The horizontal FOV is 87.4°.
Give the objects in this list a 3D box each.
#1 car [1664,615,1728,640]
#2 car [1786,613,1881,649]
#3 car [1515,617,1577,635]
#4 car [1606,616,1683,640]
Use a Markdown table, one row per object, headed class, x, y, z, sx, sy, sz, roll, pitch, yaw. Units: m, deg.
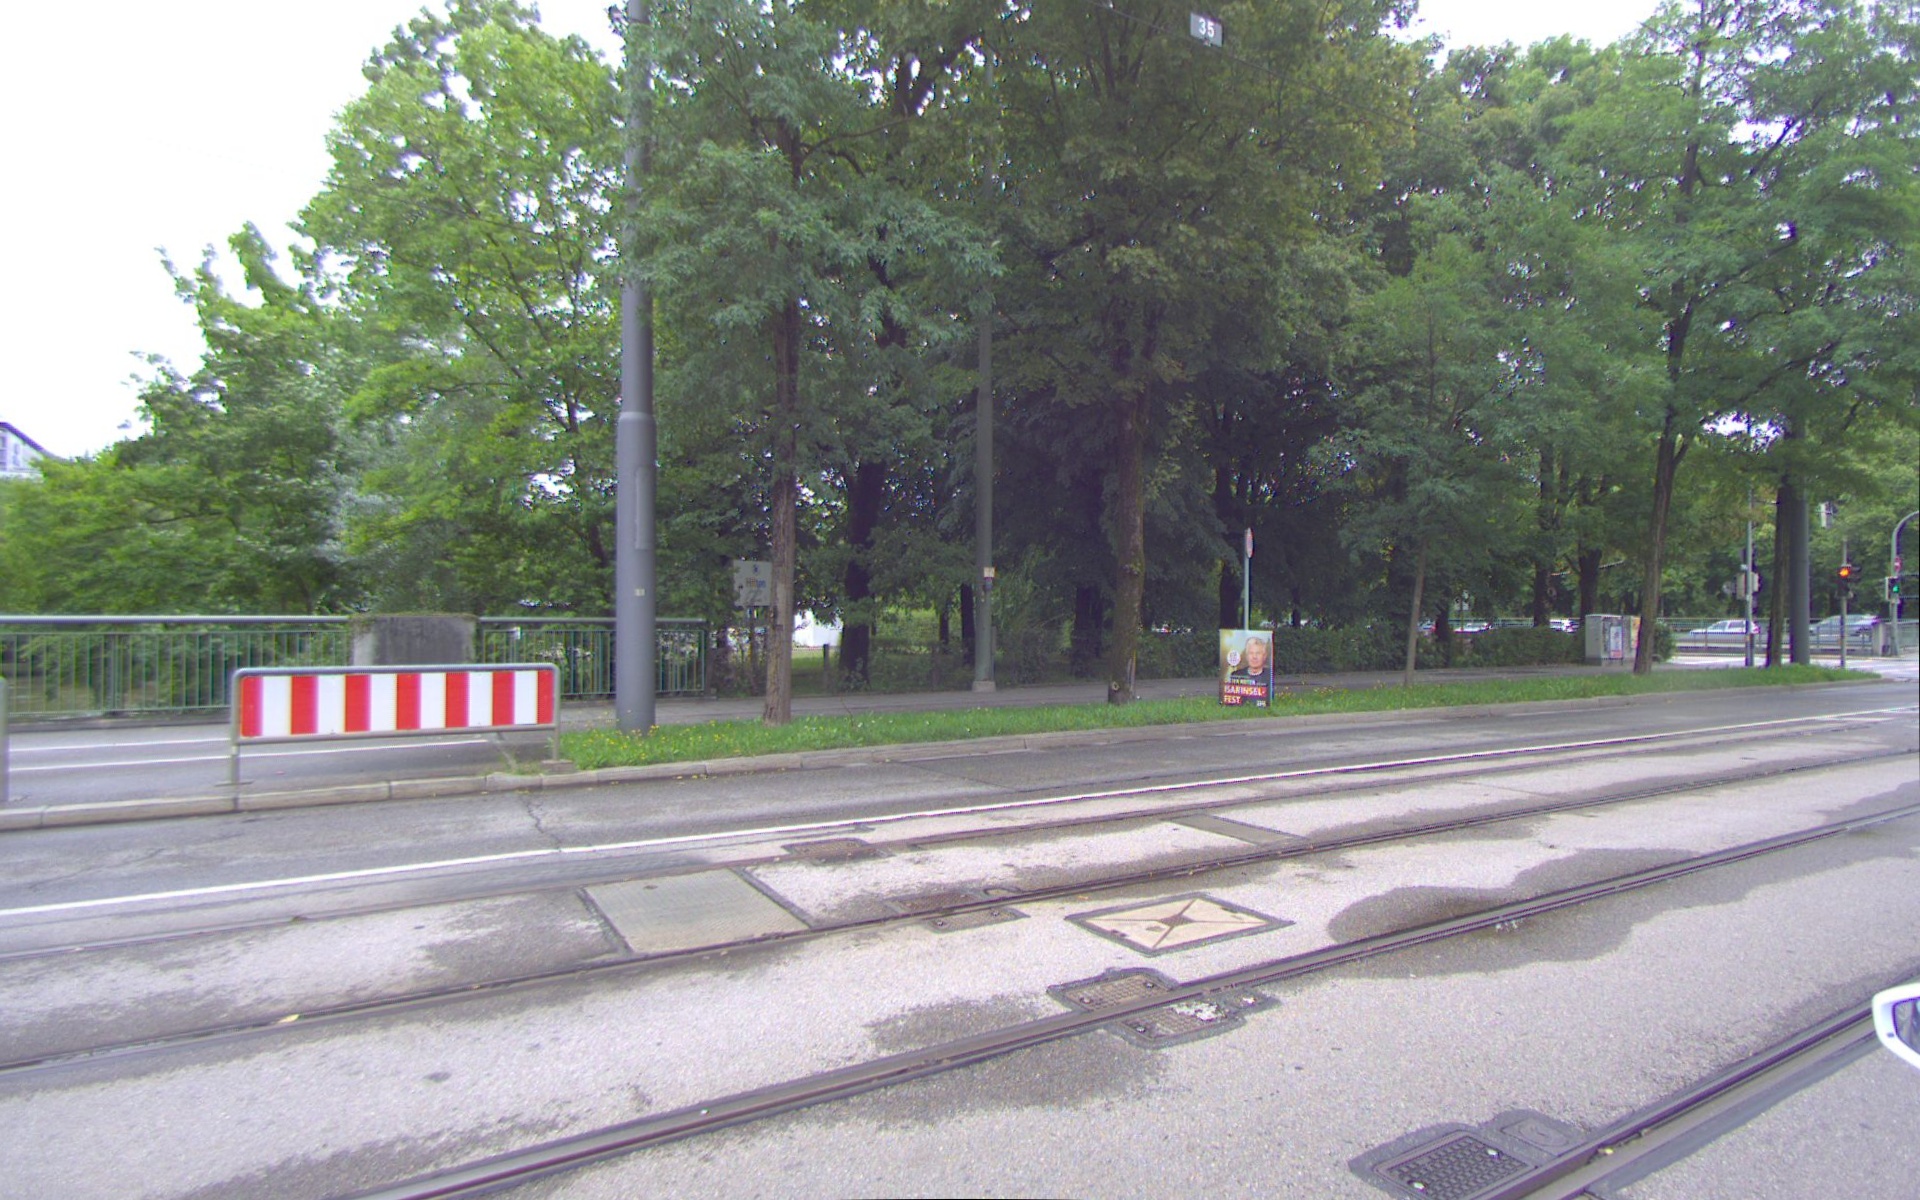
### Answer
| class | x | y | z | sx | sy | sz | roll | pitch | yaw |
| --- | --- | --- | --- | --- | --- | --- | --- | --- | --- |
| car | 47.515 | 1.743 | 64.887 | 1.238 | 1.471 | 3.090 | 1 | 1 | -34 |
| car | 51.480 | 1.798 | 59.245 | 1.476 | 1.912 | 3.994 | 1 | 1 | -36 |
| car | 42.566 | 1.874 | 72.995 | 1.238 | 1.201 | 3.705 | 1 | 0 | -34 |
| car | 46.011 | 1.852 | 67.588 | 1.703 | 1.423 | 3.900 | 1 | 0 | -34 |
